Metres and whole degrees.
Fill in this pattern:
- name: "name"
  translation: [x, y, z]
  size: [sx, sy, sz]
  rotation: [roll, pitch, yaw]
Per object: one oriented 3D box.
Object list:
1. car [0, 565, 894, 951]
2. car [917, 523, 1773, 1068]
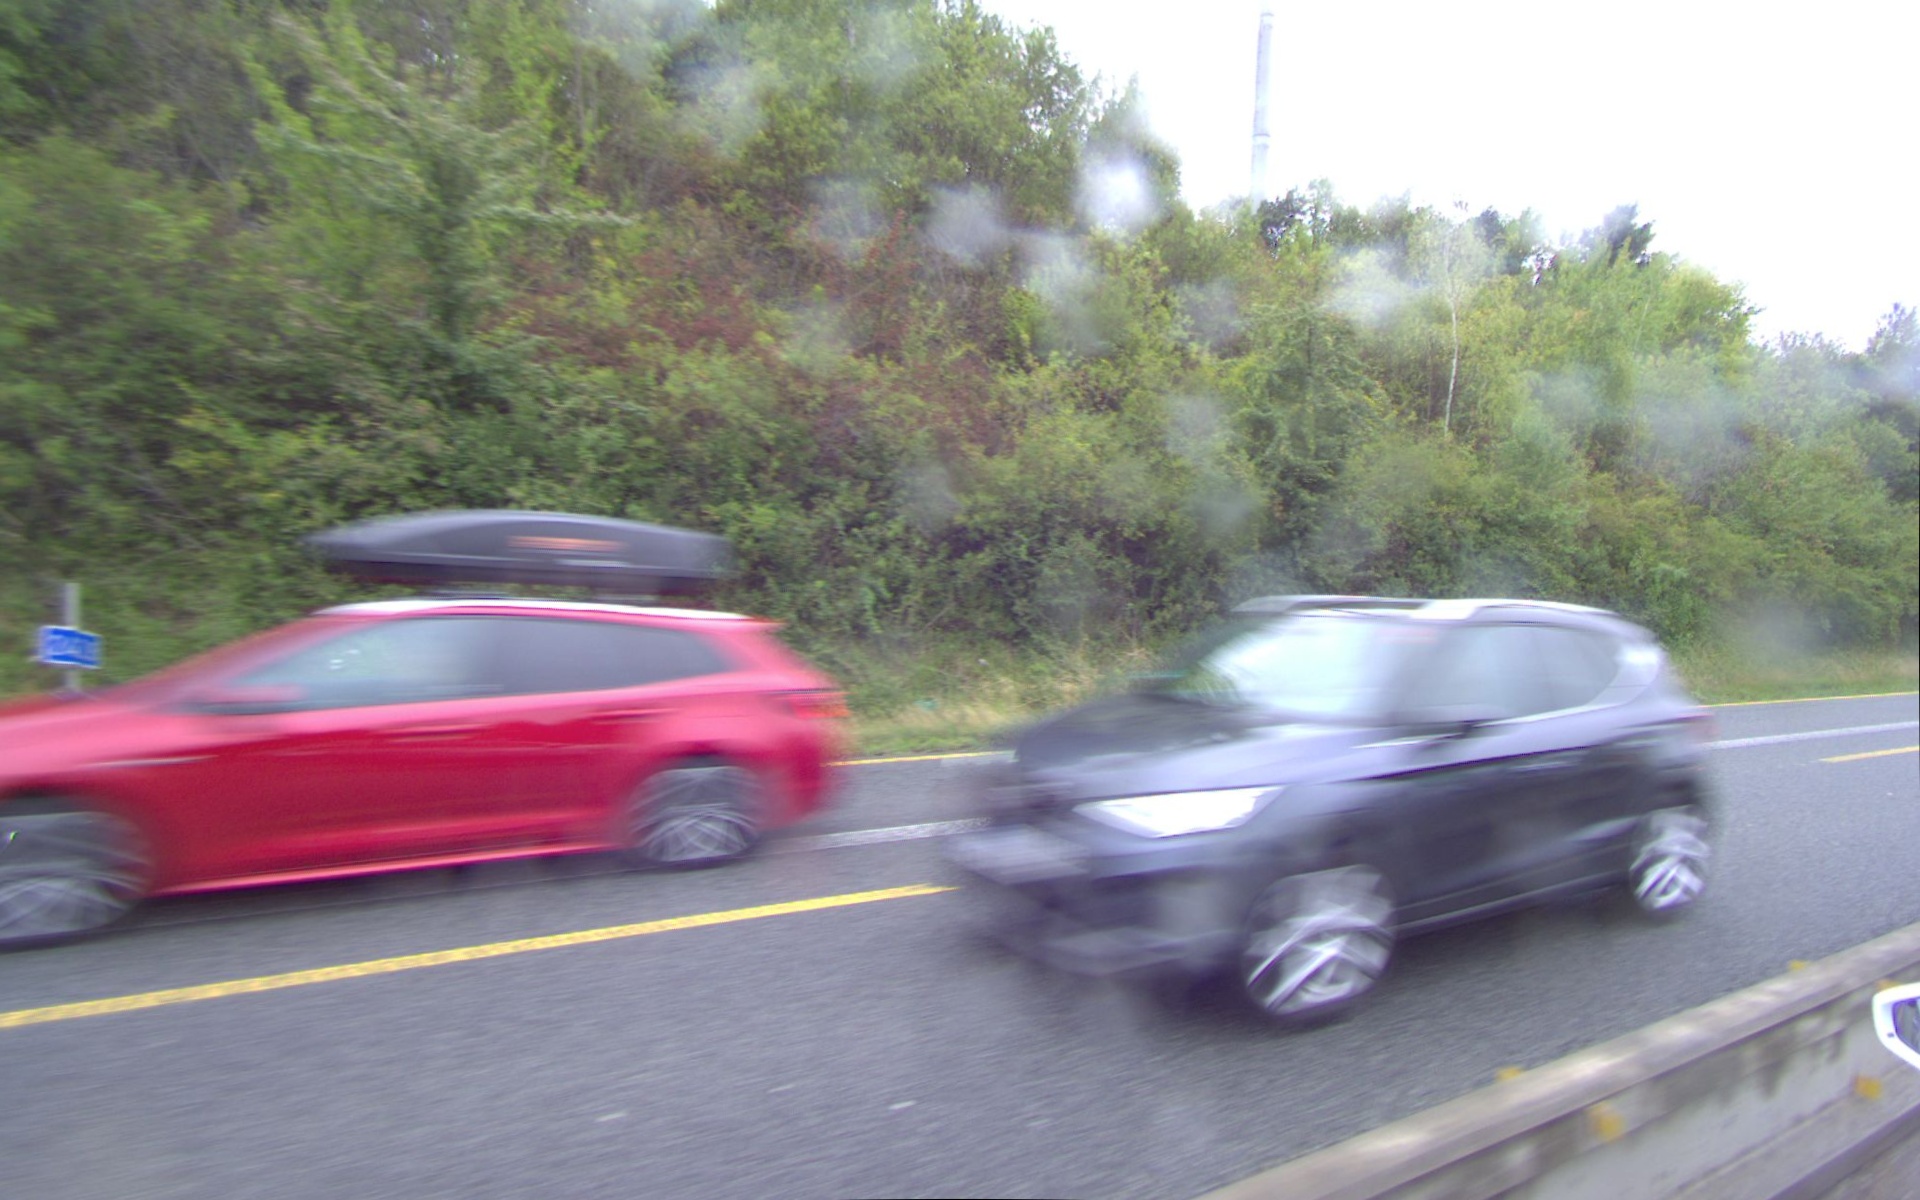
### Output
- name: "car"
  translation: [-2.724, 0.638, 5.414]
  size: [4.398, 1.470, 1.765]
  rotation: [2, 0, -31]
- name: "car"
  translation: [1.956, 0.660, 4.886]
  size: [3.952, 1.706, 1.754]
  rotation: [2, 0, -29]
